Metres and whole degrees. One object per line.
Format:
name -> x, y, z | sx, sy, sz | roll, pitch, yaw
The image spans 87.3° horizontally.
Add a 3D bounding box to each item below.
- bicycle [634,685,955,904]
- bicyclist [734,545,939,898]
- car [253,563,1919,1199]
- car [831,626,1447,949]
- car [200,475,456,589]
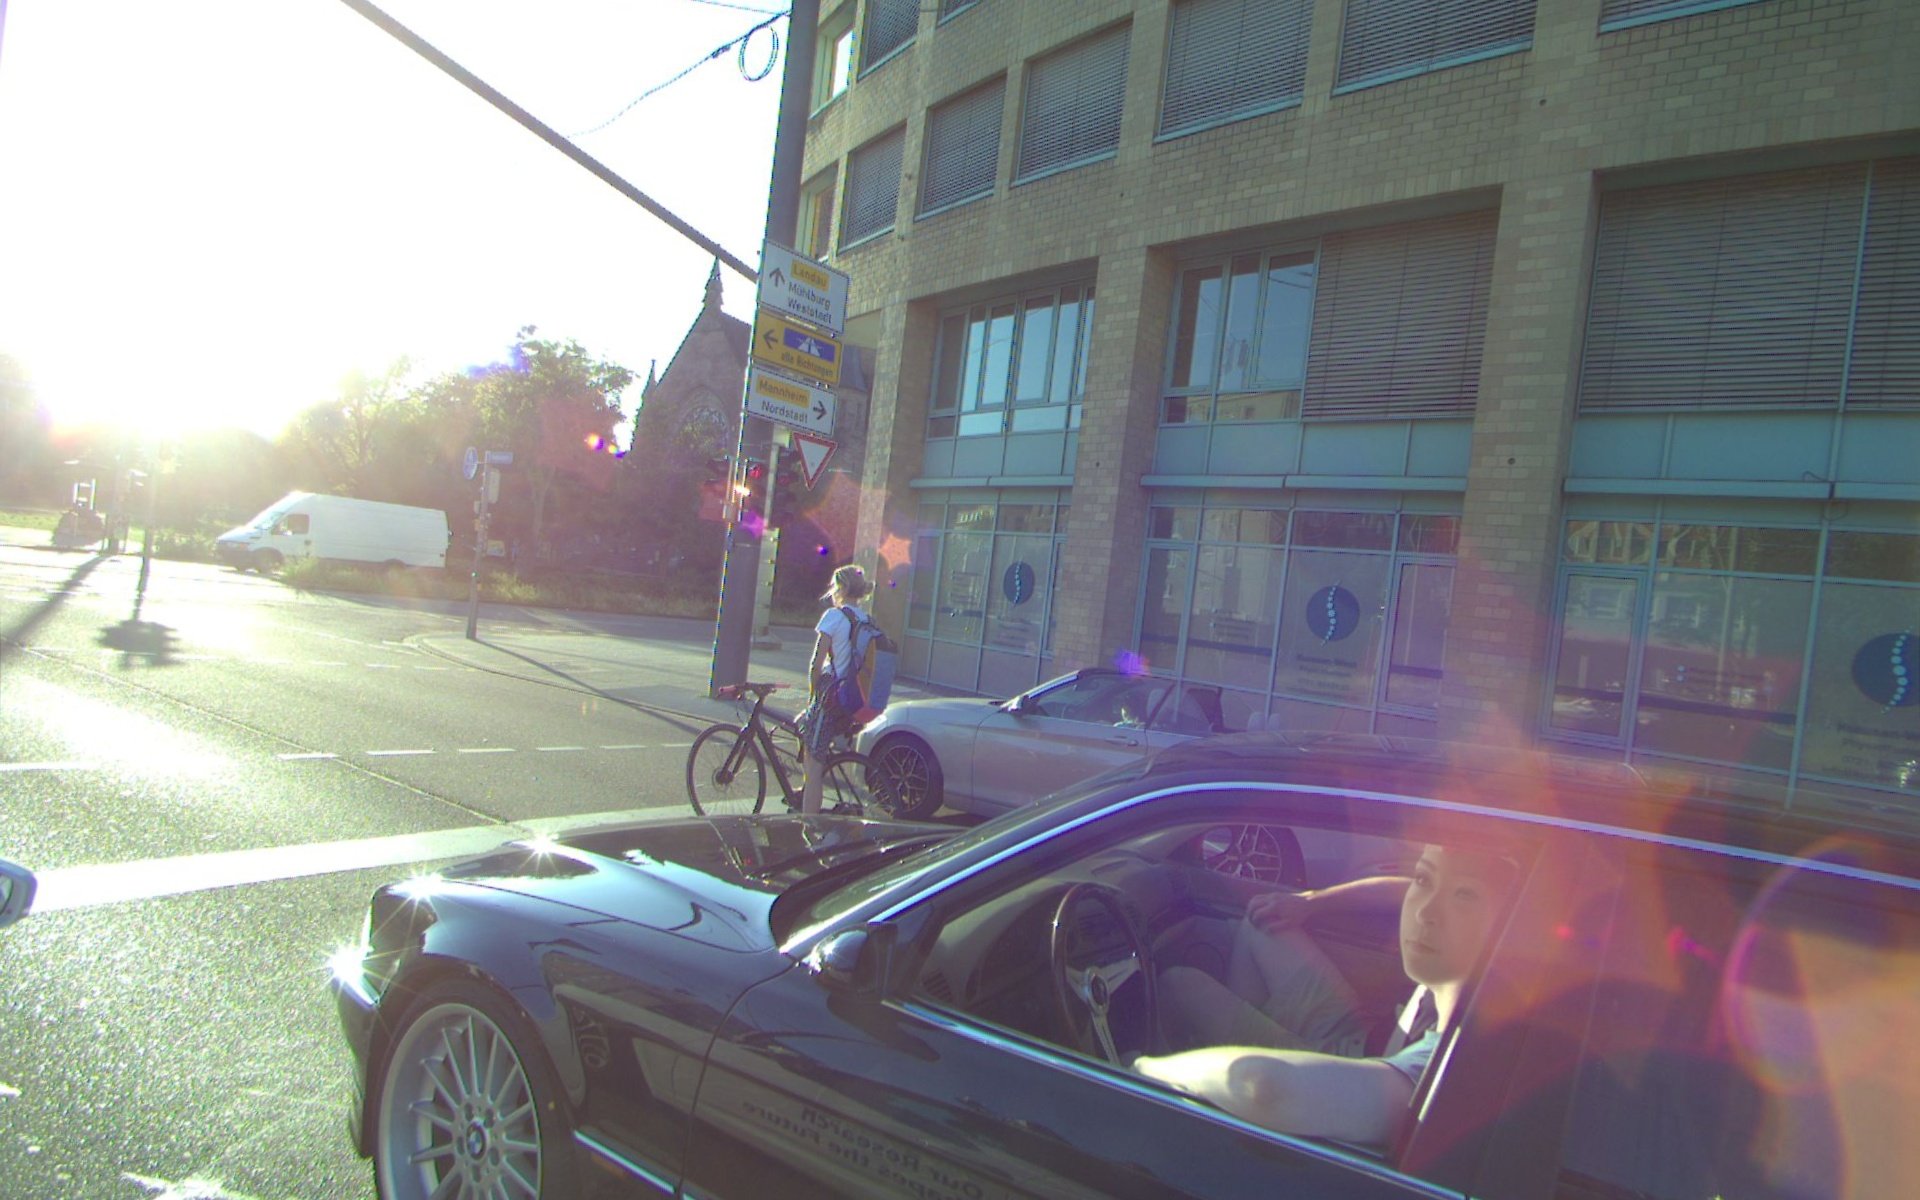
bicycle -> -1.021, 1.084, 6.014 | 1.838, 0.884, 0.634 | 7, 0, 30
bicyclist -> -0.711, 0.665, 5.853 | 0.764, 1.843, 0.634 | 7, 1, 30
car -> 0.885, 0.934, 2.004 | 4.661, 1.402, 1.997 | 7, -1, 32
car -> 1.259, 1.199, 7.669 | 4.157, 1.401, 1.747 | 7, -1, 31
car -> -21.316, -2.197, 34.402 | 2.059, 2.862, 7.017 | 7, 0, 33
